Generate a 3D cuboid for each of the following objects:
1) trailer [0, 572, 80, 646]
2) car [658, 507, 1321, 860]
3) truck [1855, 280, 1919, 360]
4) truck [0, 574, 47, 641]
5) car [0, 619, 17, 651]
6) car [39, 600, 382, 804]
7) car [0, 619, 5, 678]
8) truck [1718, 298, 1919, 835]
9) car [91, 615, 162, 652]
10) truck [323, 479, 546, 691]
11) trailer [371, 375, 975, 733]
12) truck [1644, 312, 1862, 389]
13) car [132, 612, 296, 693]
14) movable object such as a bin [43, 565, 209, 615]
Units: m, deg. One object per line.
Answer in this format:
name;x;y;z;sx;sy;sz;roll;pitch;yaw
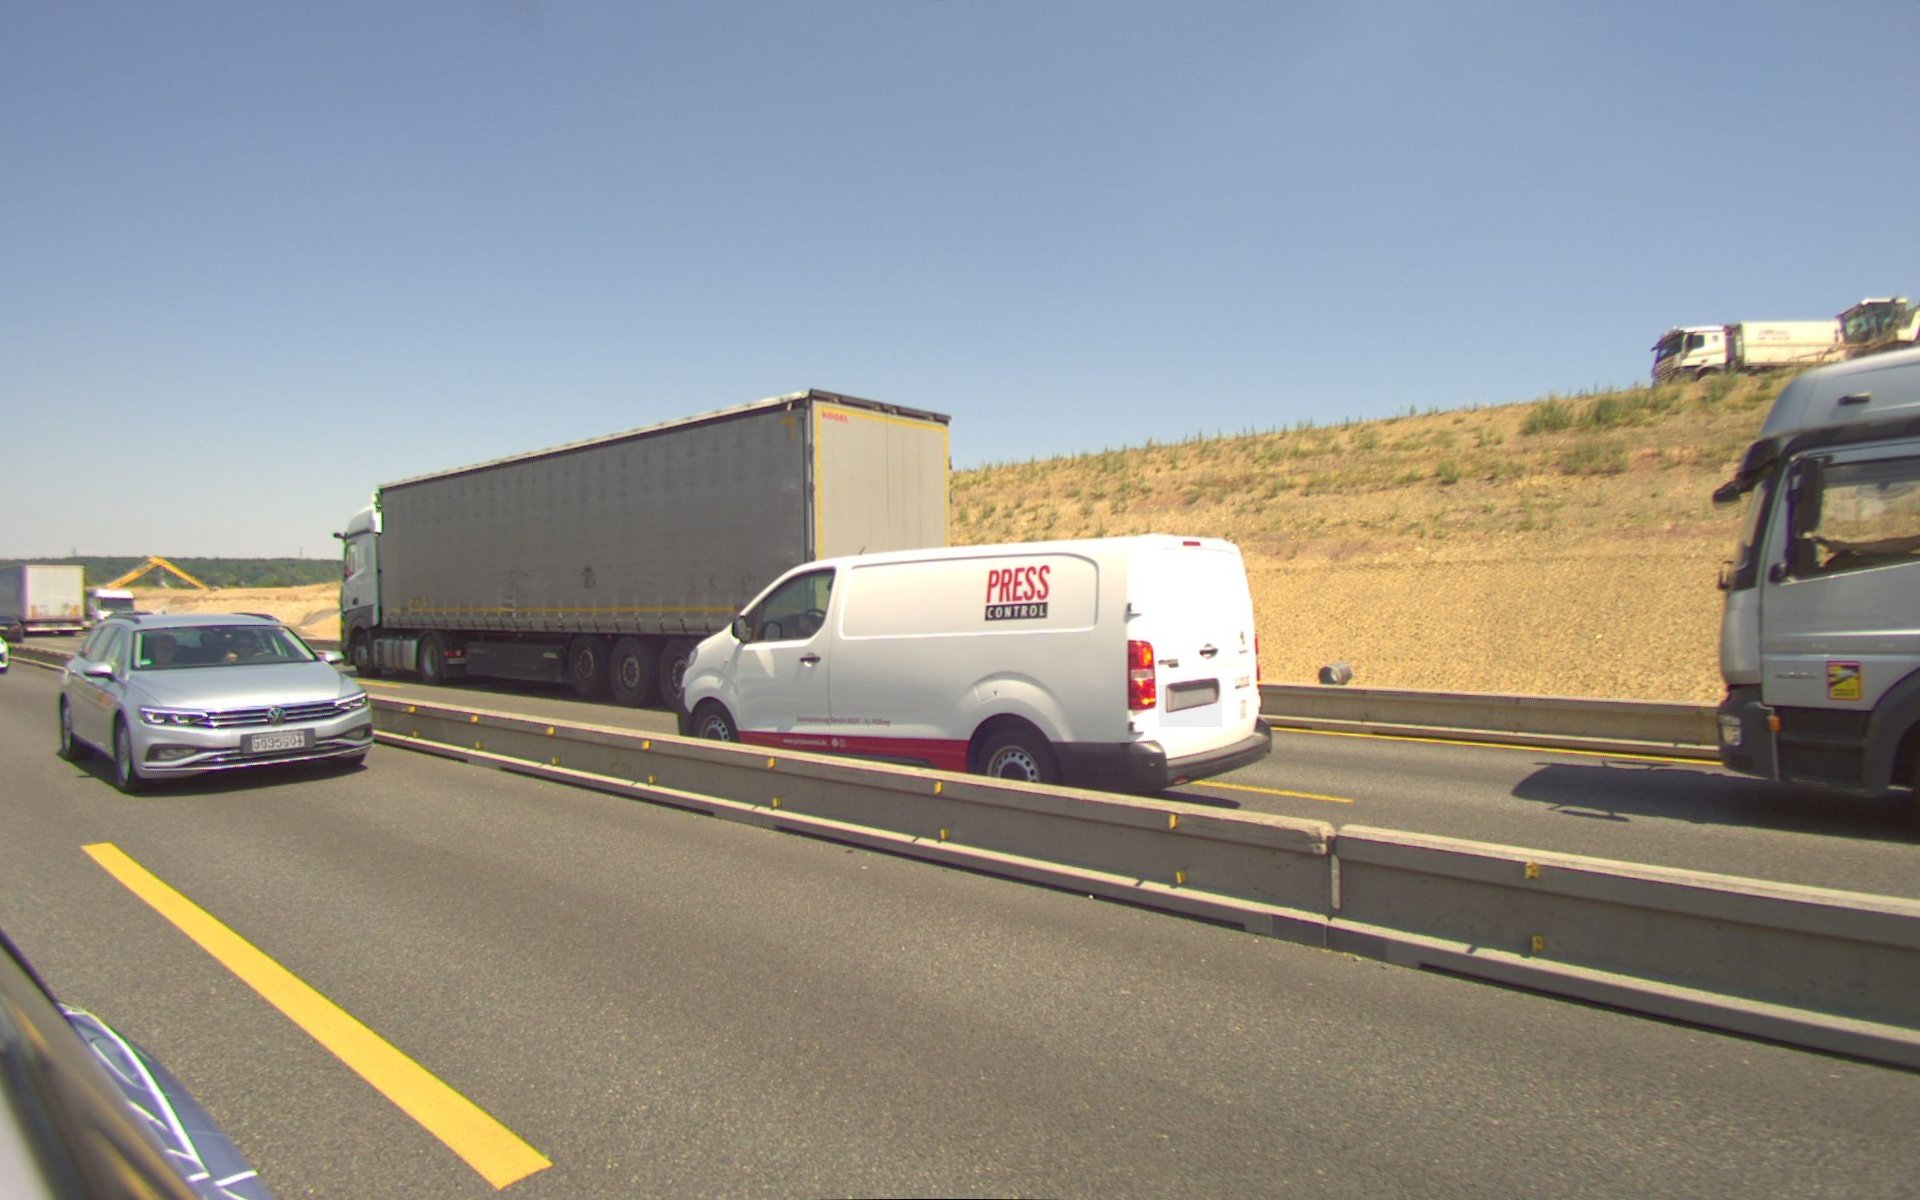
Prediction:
trailer;-54.953;0.513;59.747;13.989;3.968;2.626;-1;0;41
car;-0.097;0.441;7.973;5.260;1.941;1.807;0;1;40
truck;43.695;-11.978;42.967;8.795;2.769;2.299;0;1;6
truck;-60.493;0.490;64.607;5.146;4.084;2.566;-1;0;40
car;-45.626;1.630;47.299;4.857;1.397;1.711;0;1;40
car;-7.293;0.801;9.698;4.098;1.519;1.781;-1;0;41
car;-25.144;1.183;25.051;4.029;1.408;1.851;0;1;42
truck;7.479;-0.199;5.637;5.061;3.082;2.373;0;1;42
car;-36.230;1.431;43.951;4.498;1.435;1.614;0;1;40
truck;-11.546;-0.317;22.095;4.942;4.074;2.739;0;1;42
trailer;-5.891;-0.442;17.170;13.703;4.106;2.762;-1;0;41
truck;38.134;-12.013;48.900;8.263;2.920;2.358;0;1;6
car;-15.267;0.977;20.613;4.481;1.397;1.709;0;1;40
movable object such as a bin;-119.132;-1.442;145.104;3.386;6.823;18.034;0;1;40
